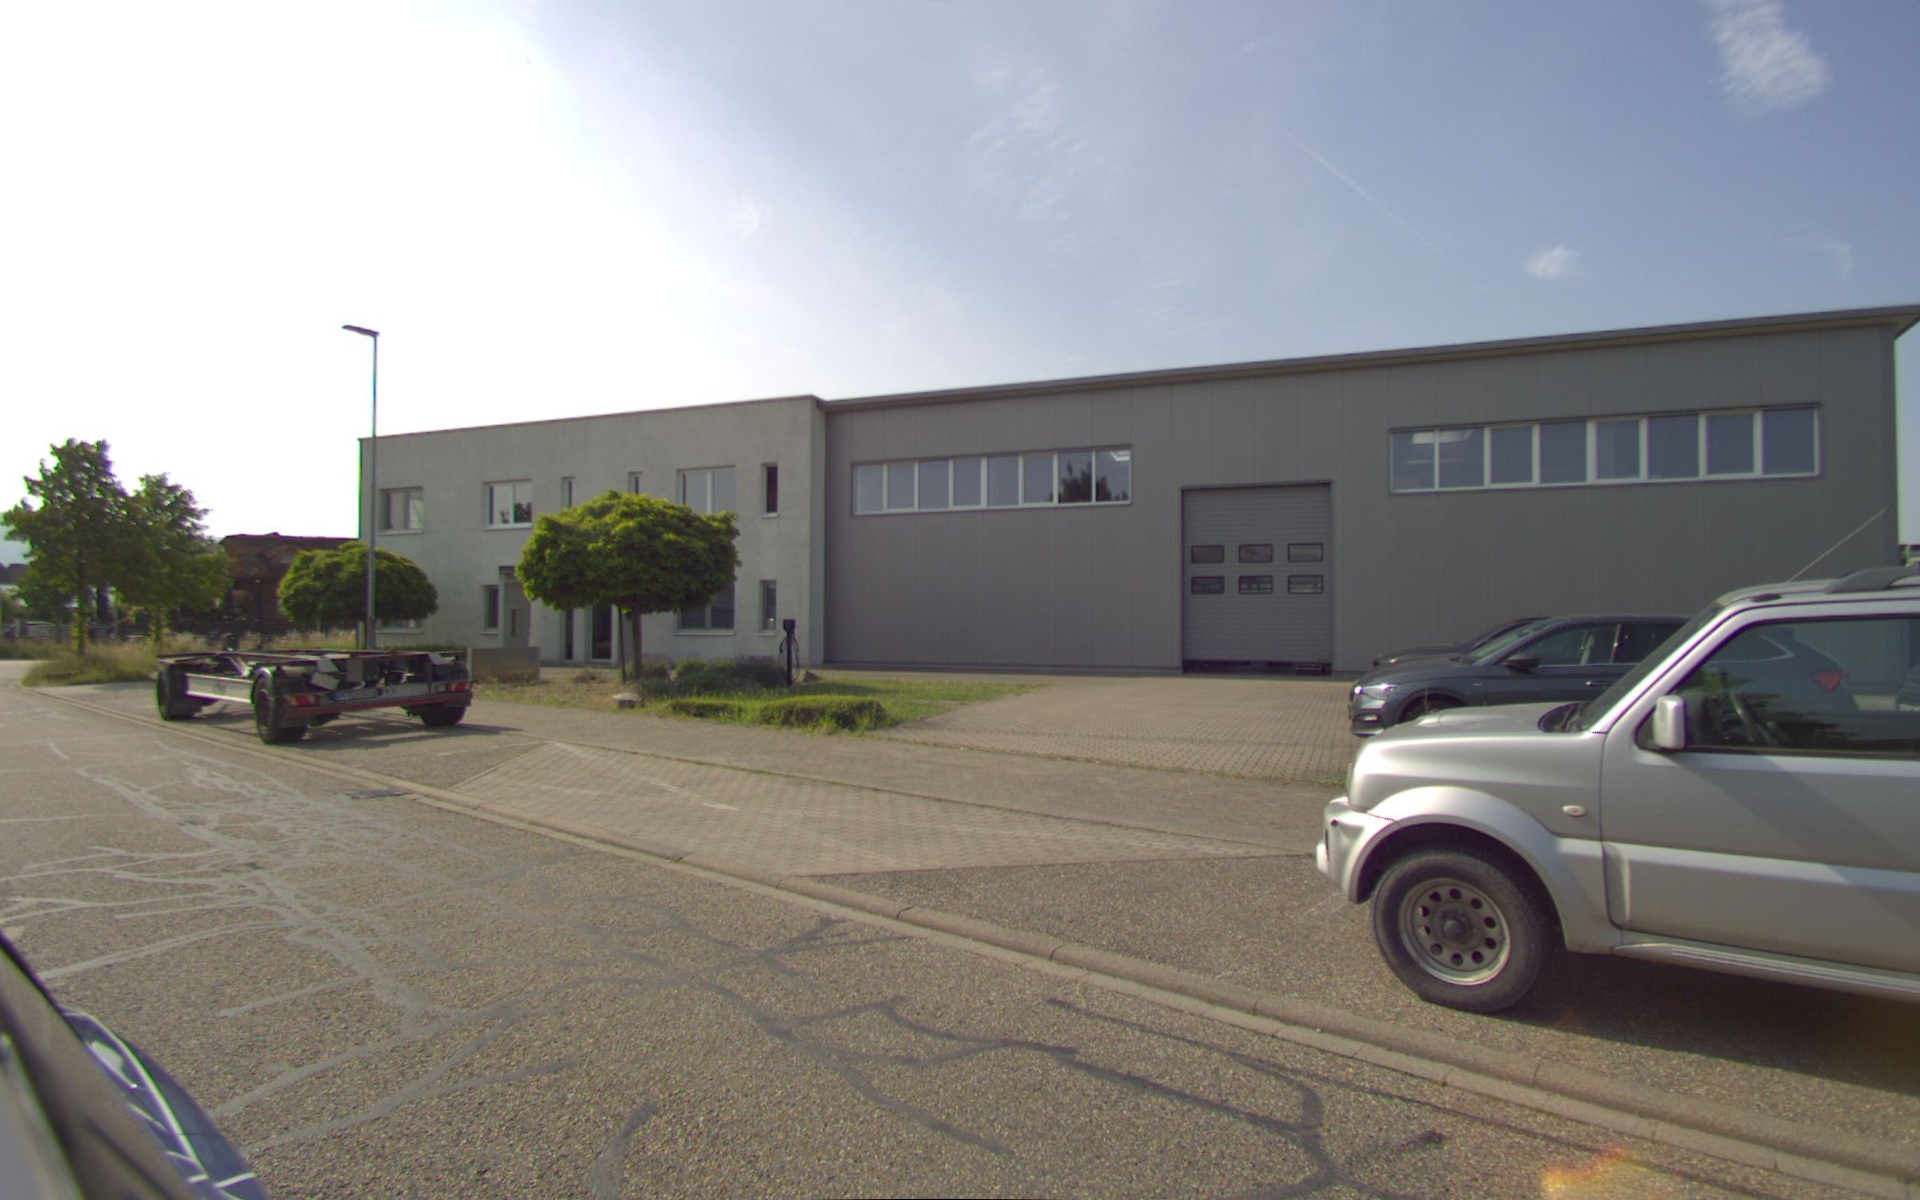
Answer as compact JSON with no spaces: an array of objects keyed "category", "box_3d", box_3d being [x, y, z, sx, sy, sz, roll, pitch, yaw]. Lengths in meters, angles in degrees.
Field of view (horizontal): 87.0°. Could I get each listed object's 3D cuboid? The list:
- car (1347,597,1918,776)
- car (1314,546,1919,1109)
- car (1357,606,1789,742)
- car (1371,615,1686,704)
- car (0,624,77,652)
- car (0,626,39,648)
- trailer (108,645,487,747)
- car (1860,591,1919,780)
[{"category":"car","box_3d":[6.256,0.767,10.153,4.391,1.487,1.968,-1,-1,22]},{"category":"car","box_3d":[3.361,0.671,3.582,3.641,1.663,1.581,-2,-1,40]},{"category":"car","box_3d":[7.315,0.854,12.635,4.319,1.487,1.673,-1,-1,21]},{"category":"car","box_3d":[9.274,0.944,16.988,4.319,1.335,1.982,-1,-1,21]},{"category":"car","box_3d":[-60.707,2.474,66.368,1.999,1.741,3.945,-2,-2,41]},{"category":"car","box_3d":[-77.503,2.981,81.903,1.984,1.807,3.975,-1,-2,19]},{"category":"trailer","box_3d":[-11.126,1.341,16.367,9.724,1.082,2.520,-2,-1,41]},{"category":"car","box_3d":[10.652,0.734,8.318,4.393,1.670,1.981,-1,0,23]}]
